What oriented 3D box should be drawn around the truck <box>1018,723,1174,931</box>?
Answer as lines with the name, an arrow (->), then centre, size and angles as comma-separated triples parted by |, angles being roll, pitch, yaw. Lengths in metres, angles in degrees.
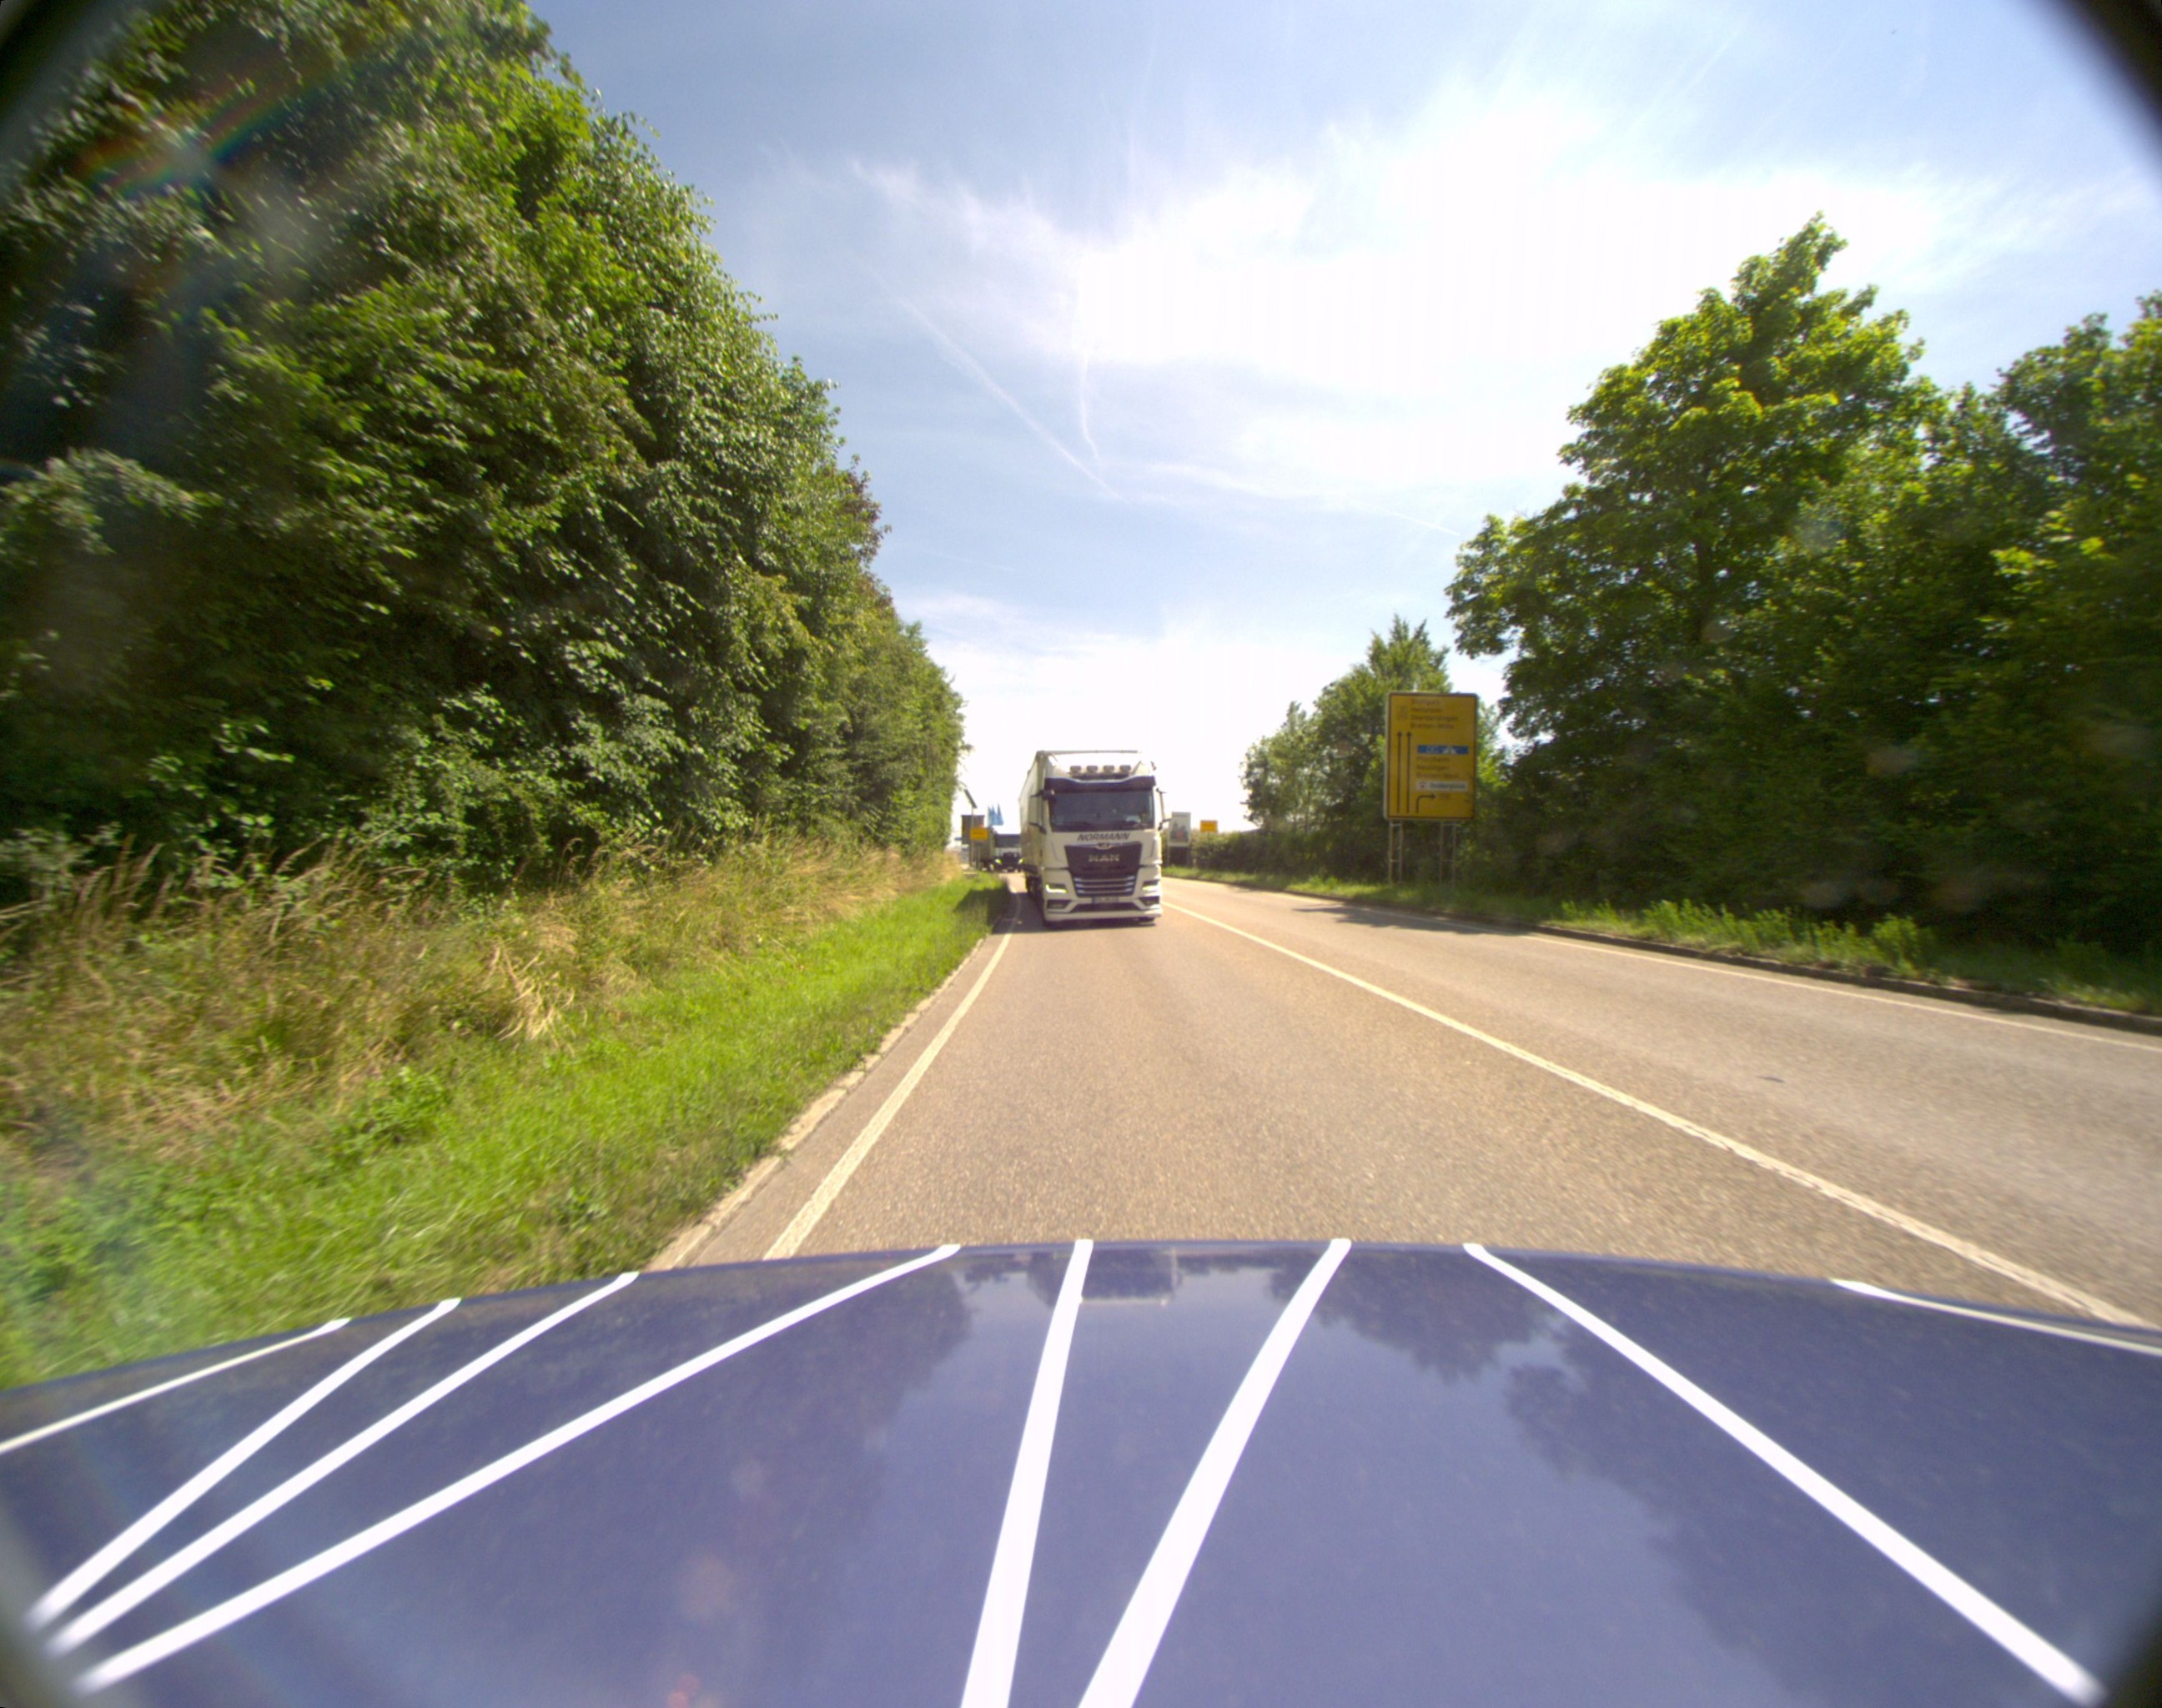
truck -> 0.011, -0.809, 23.941 | 2.981, 4.071, 17.624 | -2, 2, -2

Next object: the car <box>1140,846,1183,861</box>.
car -> 7.860, -0.046, 74.497 | 3.998, 1.324, 2.000 | 1, 0, -3

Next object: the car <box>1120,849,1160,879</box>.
car -> 3.187, 0.515, 41.571 | 1.688, 1.520, 4.069 | -2, 1, -2

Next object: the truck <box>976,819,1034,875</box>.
truck -> -7.232, -0.741, 69.724 | 2.984, 4.447, 16.428 | -2, 2, -13
